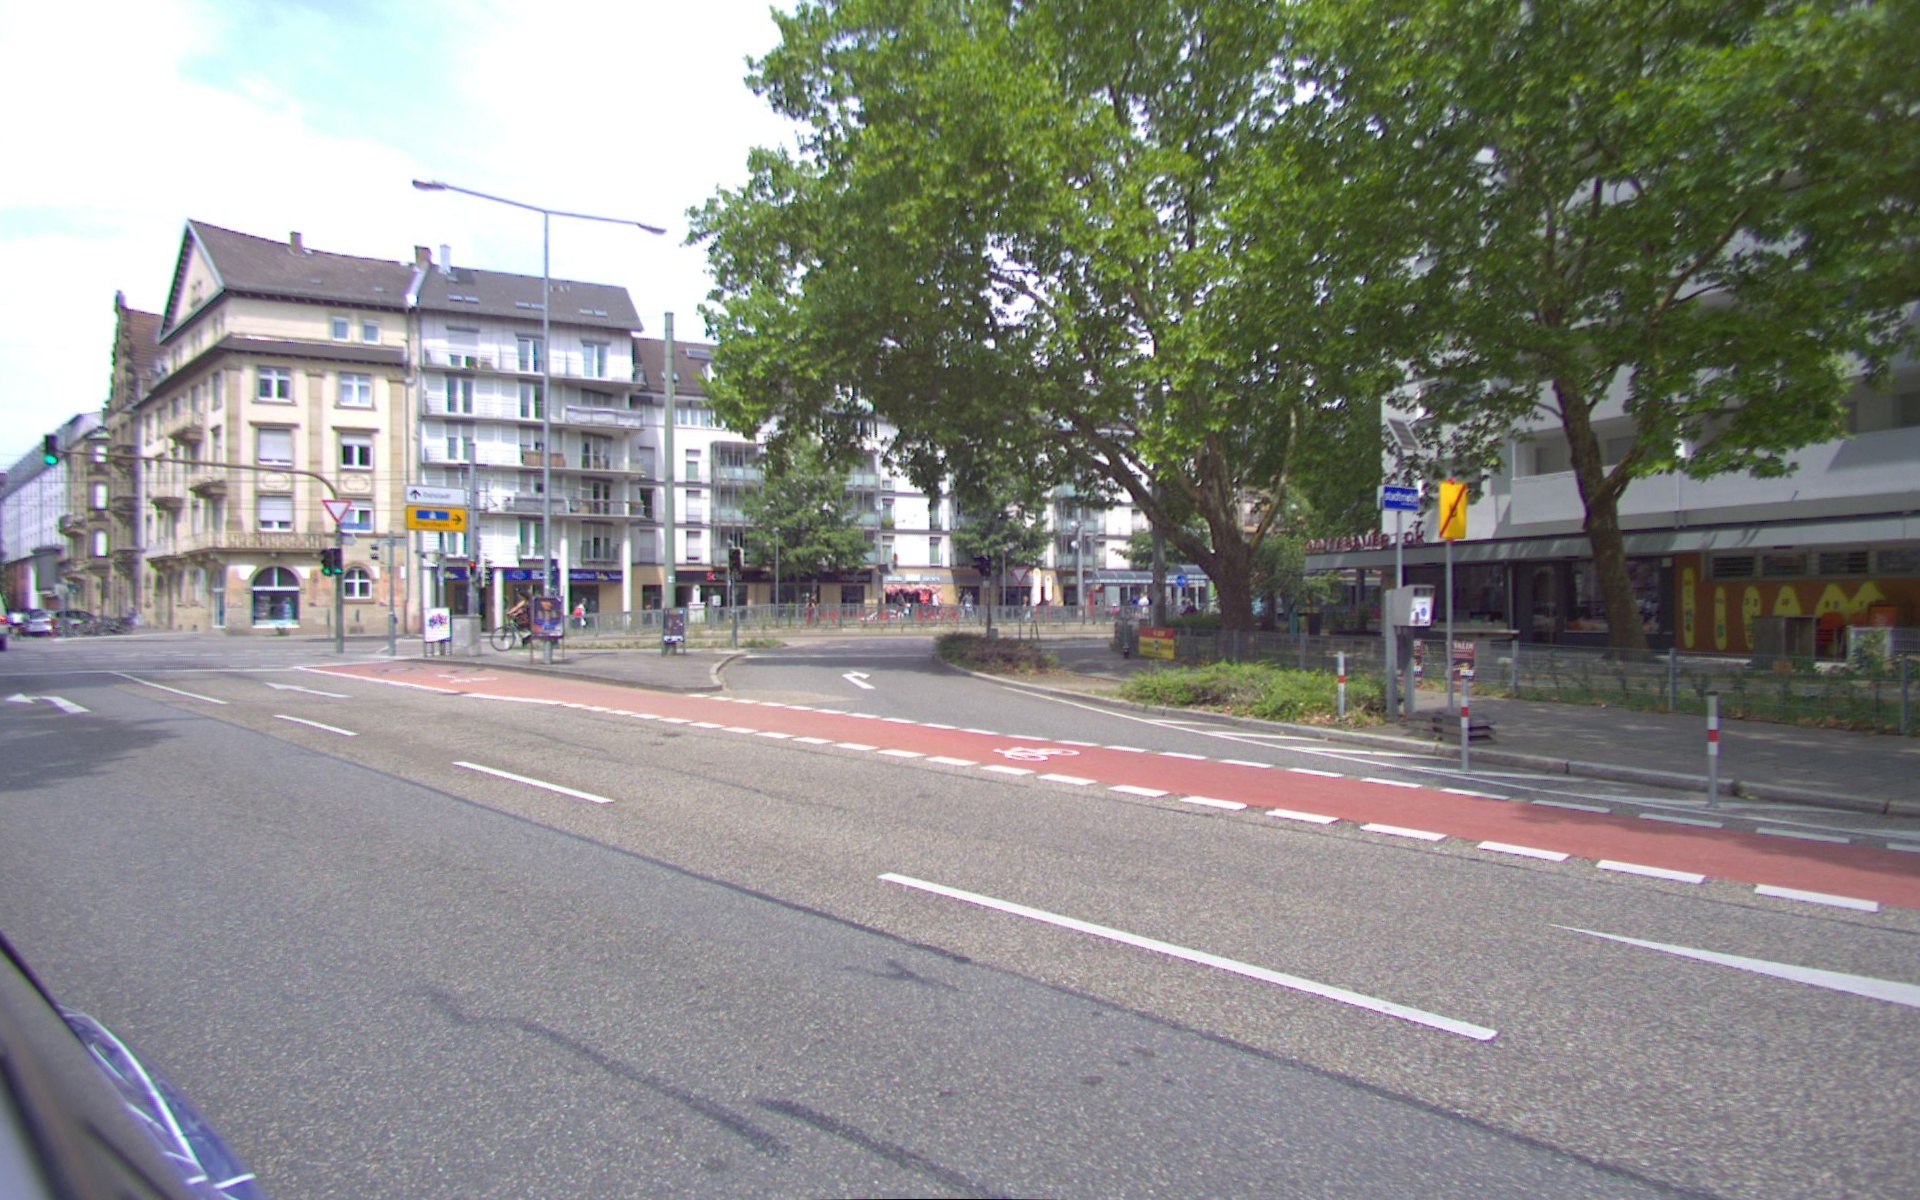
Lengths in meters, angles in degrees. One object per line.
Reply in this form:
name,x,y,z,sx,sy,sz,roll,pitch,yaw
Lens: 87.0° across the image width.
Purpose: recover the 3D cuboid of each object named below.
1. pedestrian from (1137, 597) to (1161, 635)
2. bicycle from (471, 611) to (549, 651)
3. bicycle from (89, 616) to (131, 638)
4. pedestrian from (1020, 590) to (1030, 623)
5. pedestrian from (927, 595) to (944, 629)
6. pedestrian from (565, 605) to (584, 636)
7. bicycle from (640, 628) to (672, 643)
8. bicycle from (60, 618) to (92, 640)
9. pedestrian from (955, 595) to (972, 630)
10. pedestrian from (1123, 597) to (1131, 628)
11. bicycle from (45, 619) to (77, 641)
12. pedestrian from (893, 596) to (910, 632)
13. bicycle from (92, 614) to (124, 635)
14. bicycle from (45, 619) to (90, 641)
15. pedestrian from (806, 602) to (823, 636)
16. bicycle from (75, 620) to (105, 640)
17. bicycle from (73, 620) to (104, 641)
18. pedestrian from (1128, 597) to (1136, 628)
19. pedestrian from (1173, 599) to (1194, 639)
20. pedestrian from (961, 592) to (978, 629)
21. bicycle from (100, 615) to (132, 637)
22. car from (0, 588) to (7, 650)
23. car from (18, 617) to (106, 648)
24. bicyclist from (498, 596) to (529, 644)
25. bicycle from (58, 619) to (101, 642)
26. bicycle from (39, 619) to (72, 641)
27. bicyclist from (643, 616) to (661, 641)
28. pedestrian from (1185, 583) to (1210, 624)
pedestrian,10.219,0.883,54.749,0.858,2.029,0.855,0,-1,-26
bicycle,-12.890,0.902,29.045,1.937,1.103,0.628,1,-2,-15
bicycle,-49.871,1.571,59.401,0.397,1.201,1.807,-3,0,40
pedestrian,4.000,0.381,62.464,0.363,2.029,0.503,0,-1,-25
pedestrian,-1.423,0.703,59.390,0.744,2.029,0.763,0,-1,-24
pedestrian,-19.477,1.028,51.123,0.824,1.564,0.871,0,-1,-25
bicycle,-18.303,2.139,61.005,1.760,0.822,0.654,0,-1,-24
bicycle,-51.628,1.691,59.086,0.397,1.201,1.329,-2,0,38
pedestrian,0.182,0.736,60.291,0.744,2.029,0.763,0,-1,-24
pedestrian,10.813,0.803,65.514,0.307,1.969,0.326,0,-1,-34
bicycle,-52.994,1.764,59.676,0.397,1.201,1.328,-2,1,40
pedestrian,-3.338,0.789,57.561,0.744,2.029,0.763,0,-1,-24
bicycle,-50.735,1.461,60.273,0.397,1.201,1.330,-2,1,35
bicycle,-50.732,1.689,57.557,1.844,1.201,0.457,-1,-1,-29
pedestrian,-6.754,0.898,46.948,0.588,1.564,0.672,0,-1,-28
bicycle,-51.941,1.775,60.409,0.397,1.201,1.328,-2,-1,39
bicycle,-52.320,1.831,60.736,0.397,1.201,1.329,-2,0,36
pedestrian,11.076,0.791,65.125,0.307,1.969,0.326,0,-1,-34
pedestrian,9.210,0.792,41.692,0.497,1.636,0.698,0,-1,-27
pedestrian,0.557,0.633,61.313,0.744,2.267,0.763,0,-1,-24
bicycle,-50.126,1.537,60.102,0.397,1.201,1.330,-2,1,35
car,-32.577,0.644,32.852,4.945,1.951,1.904,-1,0,41
car,-55.812,1.982,62.984,1.736,1.601,4.034,-4,1,2
bicyclist,-12.829,0.560,29.065,0.740,1.352,0.493,-1,-1,-14
bicycle,-51.083,1.776,58.736,0.397,1.201,1.799,-2,2,38
bicycle,-52.651,1.763,58.895,0.396,1.201,1.330,-2,1,35
bicyclist,-18.540,1.705,60.917,0.983,1.455,0.643,0,-1,-24
pedestrian,9.563,0.135,40.690,0.673,1.648,0.698,0,-1,-27
